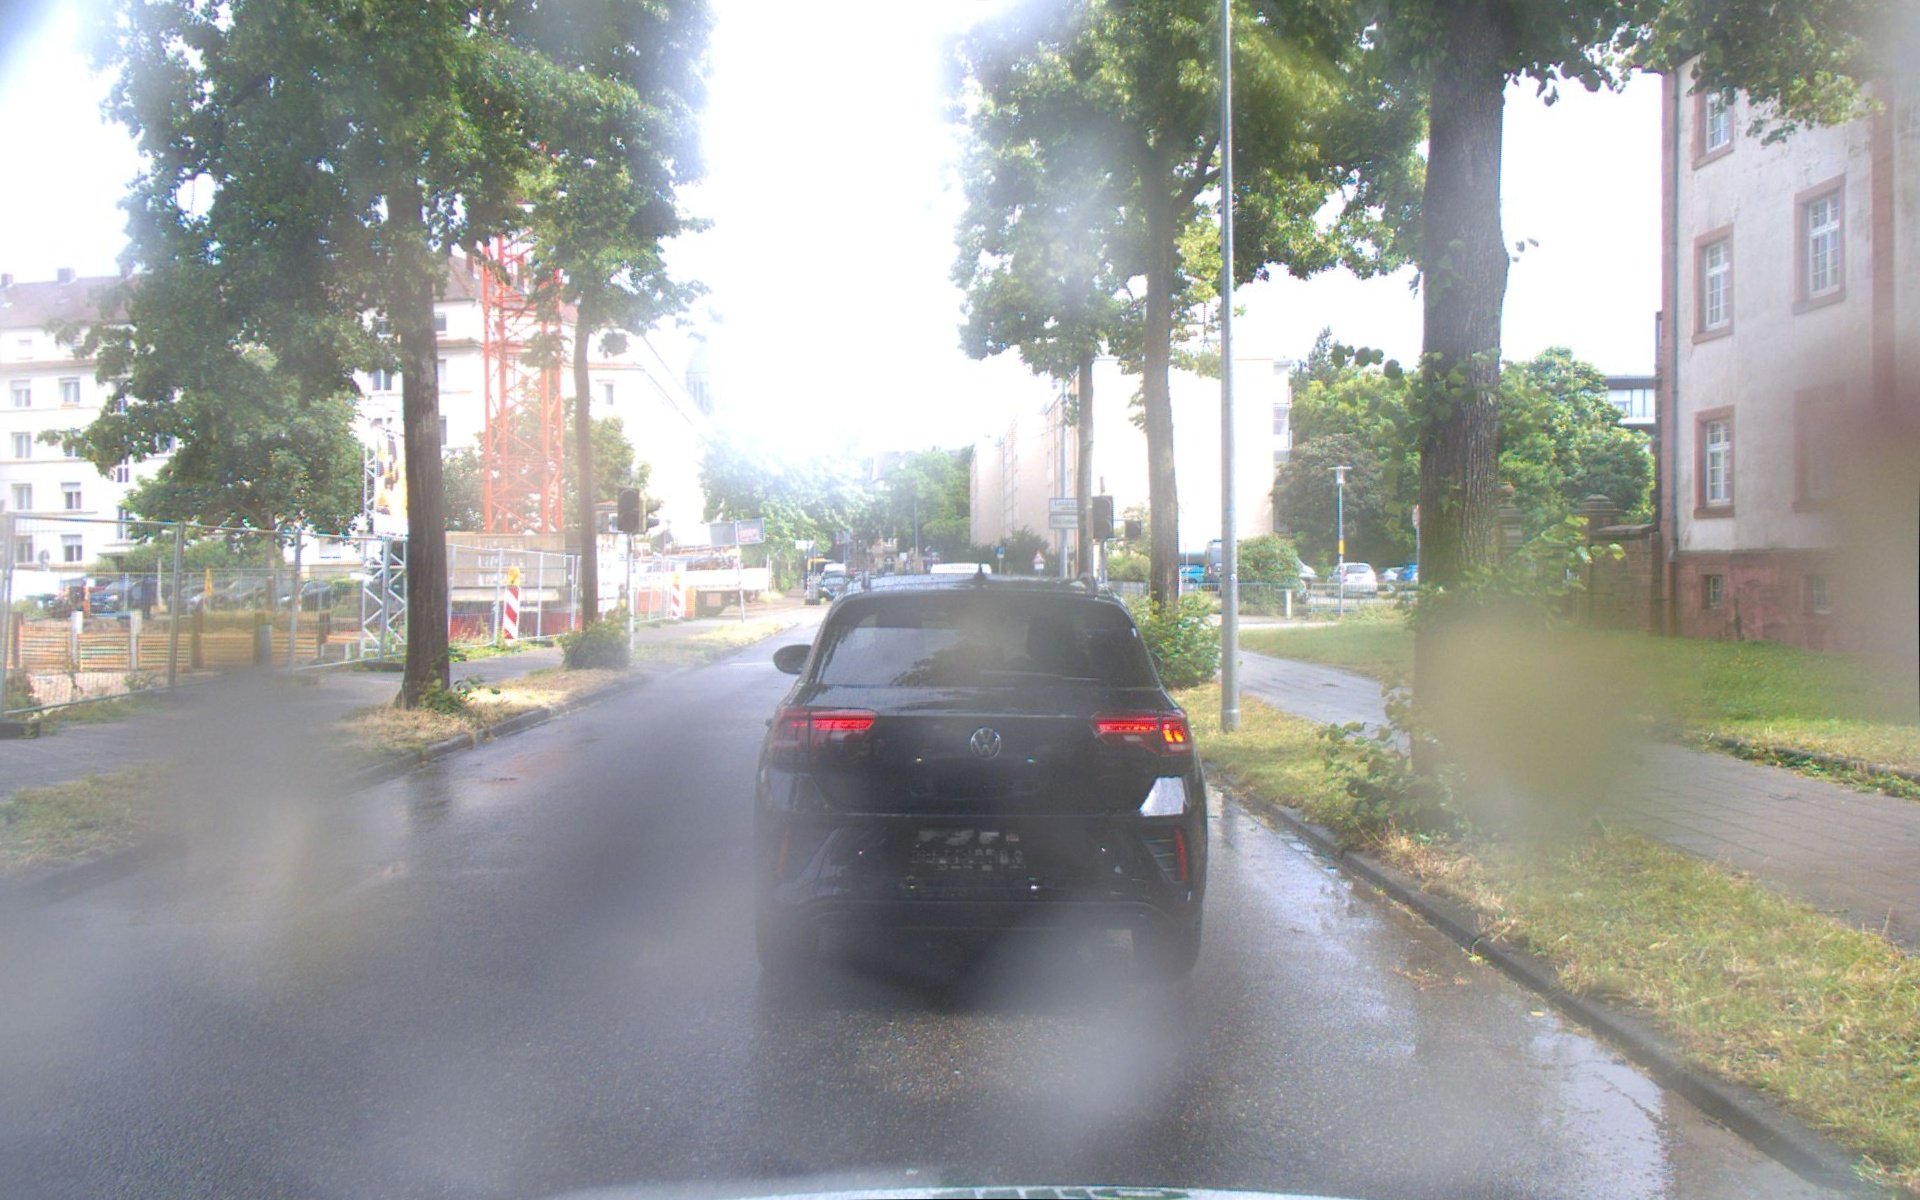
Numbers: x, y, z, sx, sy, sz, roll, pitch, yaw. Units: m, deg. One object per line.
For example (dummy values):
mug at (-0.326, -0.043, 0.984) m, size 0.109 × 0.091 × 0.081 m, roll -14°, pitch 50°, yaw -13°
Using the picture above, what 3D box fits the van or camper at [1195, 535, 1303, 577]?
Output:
van or camper at (13.645, -2.094, 78.285) m, size 4.775 × 1.959 × 2.131 m, roll 0°, pitch 1°, yaw 0°

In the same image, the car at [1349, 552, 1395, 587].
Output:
car at (23.794, -1.740, 95.686) m, size 1.828 × 1.889 × 3.811 m, roll -3°, pitch 1°, yaw 3°

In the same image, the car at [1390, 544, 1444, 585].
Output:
car at (24.787, -1.922, 89.855) m, size 1.952 × 2.048 × 4.002 m, roll -3°, pitch 1°, yaw 3°

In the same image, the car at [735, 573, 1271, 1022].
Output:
car at (0.127, 0.649, 7.723) m, size 1.856 × 1.549 × 4.000 m, roll 0°, pitch 1°, yaw -1°

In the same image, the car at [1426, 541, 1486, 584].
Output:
car at (25.301, -1.899, 84.486) m, size 1.952 × 2.048 × 4.002 m, roll -3°, pitch 1°, yaw 3°

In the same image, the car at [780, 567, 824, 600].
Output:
car at (-8.220, -0.876, 86.325) m, size 1.557 × 1.538 × 3.734 m, roll -3°, pitch 1°, yaw 5°

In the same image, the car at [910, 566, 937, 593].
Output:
car at (-2.299, -1.292, 102.391) m, size 1.559 × 1.538 × 3.730 m, roll -4°, pitch 1°, yaw -2°

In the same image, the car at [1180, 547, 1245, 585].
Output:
car at (13.483, -1.803, 88.342) m, size 3.335 × 1.812 × 1.761 m, roll -3°, pitch 0°, yaw 8°

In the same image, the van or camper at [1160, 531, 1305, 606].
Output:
van or camper at (9.994, -1.158, 60.910) m, size 4.931 × 2.641 × 2.167 m, roll -1°, pitch 1°, yaw -2°

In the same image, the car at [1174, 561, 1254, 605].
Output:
car at (11.207, -0.764, 73.125) m, size 3.335 × 1.812 × 1.761 m, roll -2°, pitch 1°, yaw 6°

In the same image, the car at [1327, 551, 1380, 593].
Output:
car at (17.649, -1.255, 74.242) m, size 1.706 × 1.713 × 3.873 m, roll -3°, pitch 1°, yaw 5°

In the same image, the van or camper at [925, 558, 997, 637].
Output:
van or camper at (0.055, -0.105, 43.442) m, size 1.782 × 1.981 × 4.195 m, roll 0°, pitch 1°, yaw 1°

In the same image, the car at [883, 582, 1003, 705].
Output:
car at (-0.203, 0.632, 26.359) m, size 1.645 × 1.738 × 3.911 m, roll -3°, pitch 0°, yaw 2°

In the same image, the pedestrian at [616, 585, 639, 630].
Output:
pedestrian at (-11.278, 0.253, 56.079) m, size 0.652 × 1.511 × 0.667 m, roll -1°, pitch 1°, yaw -25°

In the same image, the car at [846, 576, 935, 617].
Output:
car at (-3.227, -0.182, 77.668) m, size 3.902 × 1.679 × 1.733 m, roll -4°, pitch 1°, yaw -41°

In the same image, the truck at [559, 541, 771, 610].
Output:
truck at (-11.974, -1.018, 67.173) m, size 8.039 × 2.703 × 2.817 m, roll 0°, pitch 2°, yaw 16°

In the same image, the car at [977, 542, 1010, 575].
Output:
car at (2.128, -2.654, 106.384) m, size 1.953 × 2.049 × 3.999 m, roll 0°, pitch 0°, yaw -1°
